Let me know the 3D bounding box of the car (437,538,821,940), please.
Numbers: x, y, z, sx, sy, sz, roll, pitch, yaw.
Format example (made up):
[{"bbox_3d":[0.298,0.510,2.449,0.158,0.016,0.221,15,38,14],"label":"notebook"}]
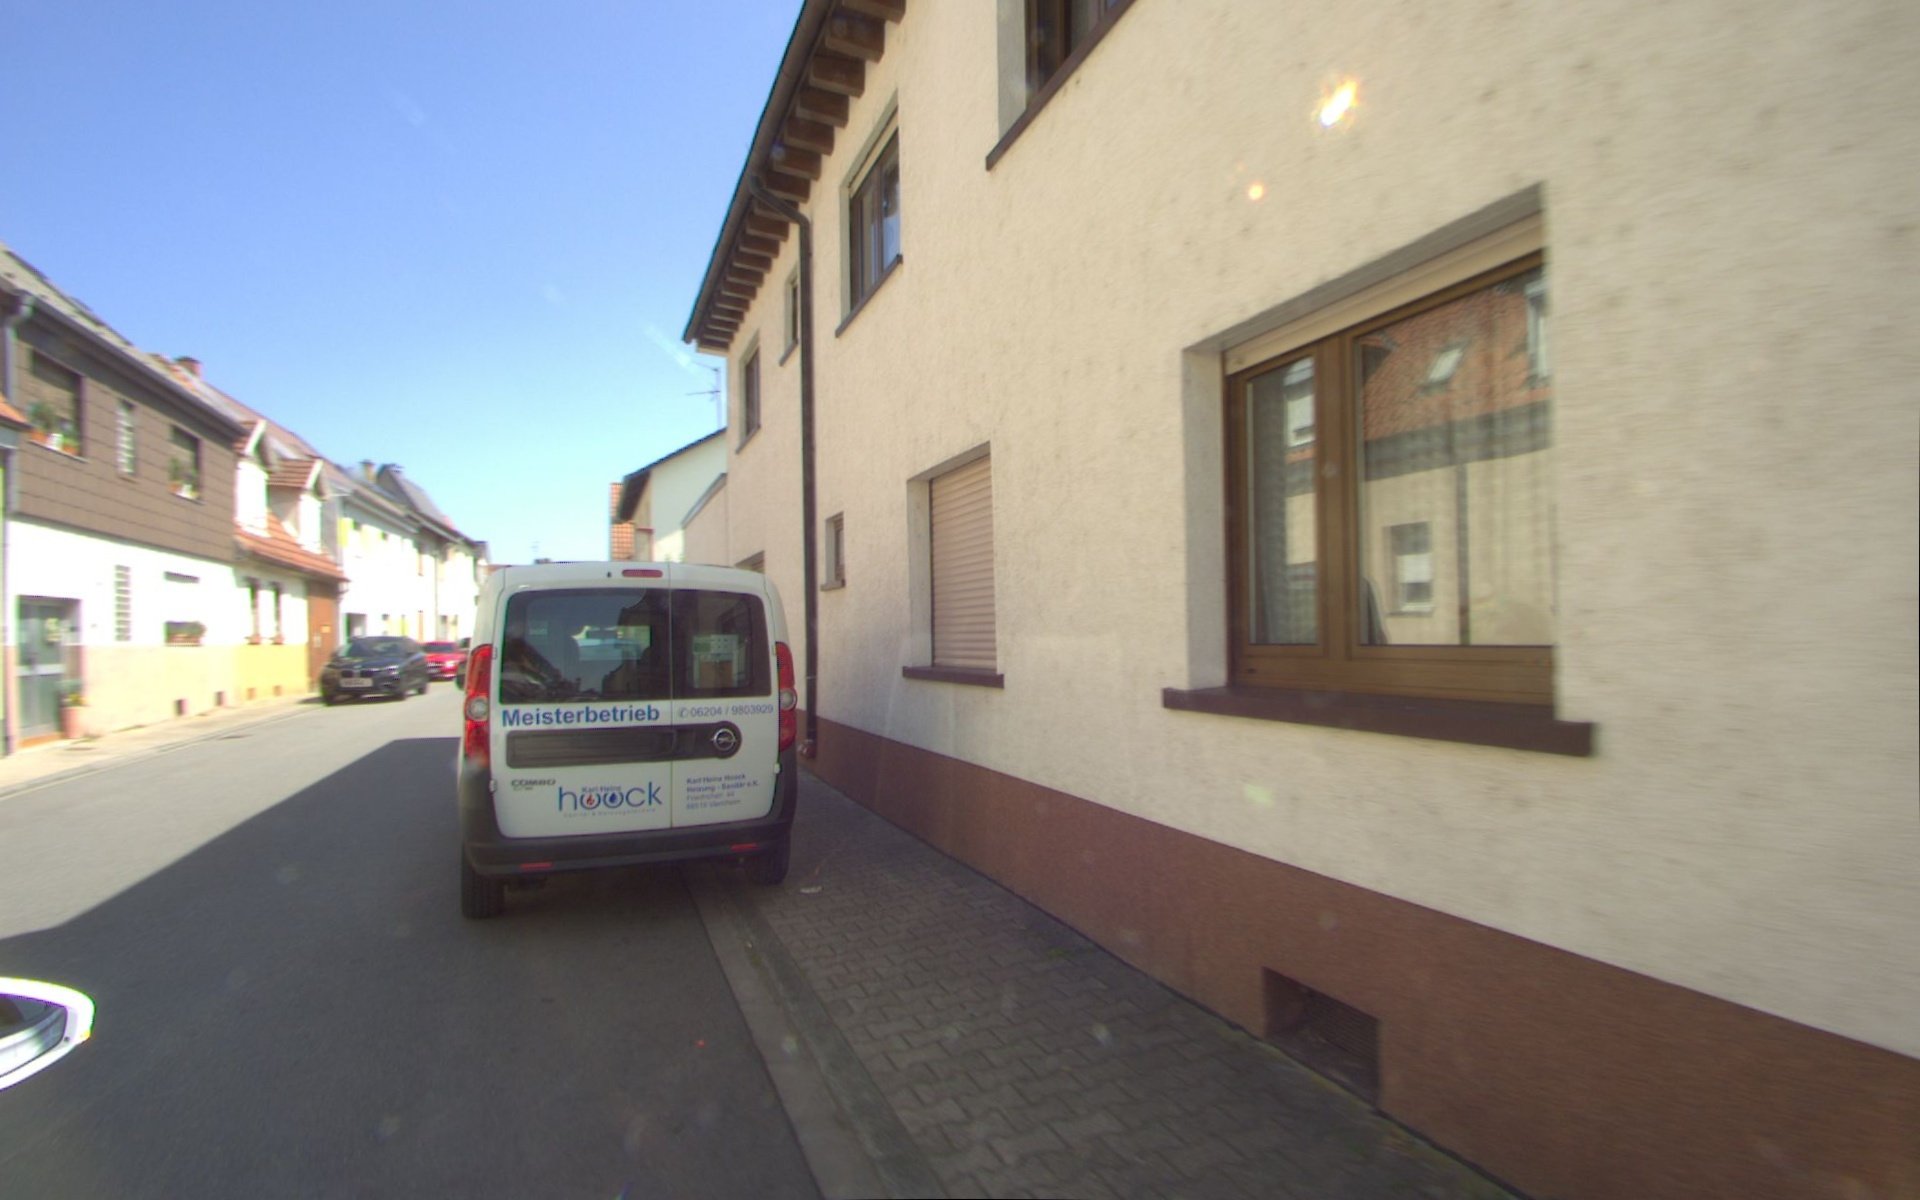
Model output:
[{"bbox_3d":[-2.516,0.758,7.198,1.786,1.847,4.837,2,-3,-23],"label":"car"}]

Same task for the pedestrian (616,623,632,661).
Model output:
[{"bbox_3d":[-14.512,1.806,43.214,0.587,1.582,0.556,0,-5,-22],"label":"pedestrian"}]

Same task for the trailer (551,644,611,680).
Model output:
[{"bbox_3d":[-12.859,2.073,34.104,1.792,1.104,3.474,0,-2,-19],"label":"trailer"}]

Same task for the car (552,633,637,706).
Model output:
[{"bbox_3d":[-8.367,1.516,22.741,1.627,1.454,4.124,-1,-2,-22],"label":"car"}]

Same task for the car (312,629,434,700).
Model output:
[{"bbox_3d":[-14.818,1.582,25.540,1.775,1.594,4.606,-1,-2,-19],"label":"car"}]

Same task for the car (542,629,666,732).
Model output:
[{"bbox_3d":[-6.397,1.337,17.906,1.766,1.500,4.922,-2,-1,-21],"label":"car"}]

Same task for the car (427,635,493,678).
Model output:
[{"bbox_3d":[-18.611,2.077,37.406,1.776,1.459,4.476,-1,-2,-22],"label":"car"}]

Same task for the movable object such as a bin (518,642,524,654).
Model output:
[{"bbox_3d":[-36.974,4.037,84.415,0.442,0.933,0.403,-1,-1,-23],"label":"movable object such as a bin"}]

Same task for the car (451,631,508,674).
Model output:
[{"bbox_3d":[-21.378,2.316,44.691,1.775,1.725,4.478,-2,-2,-20],"label":"car"}]
